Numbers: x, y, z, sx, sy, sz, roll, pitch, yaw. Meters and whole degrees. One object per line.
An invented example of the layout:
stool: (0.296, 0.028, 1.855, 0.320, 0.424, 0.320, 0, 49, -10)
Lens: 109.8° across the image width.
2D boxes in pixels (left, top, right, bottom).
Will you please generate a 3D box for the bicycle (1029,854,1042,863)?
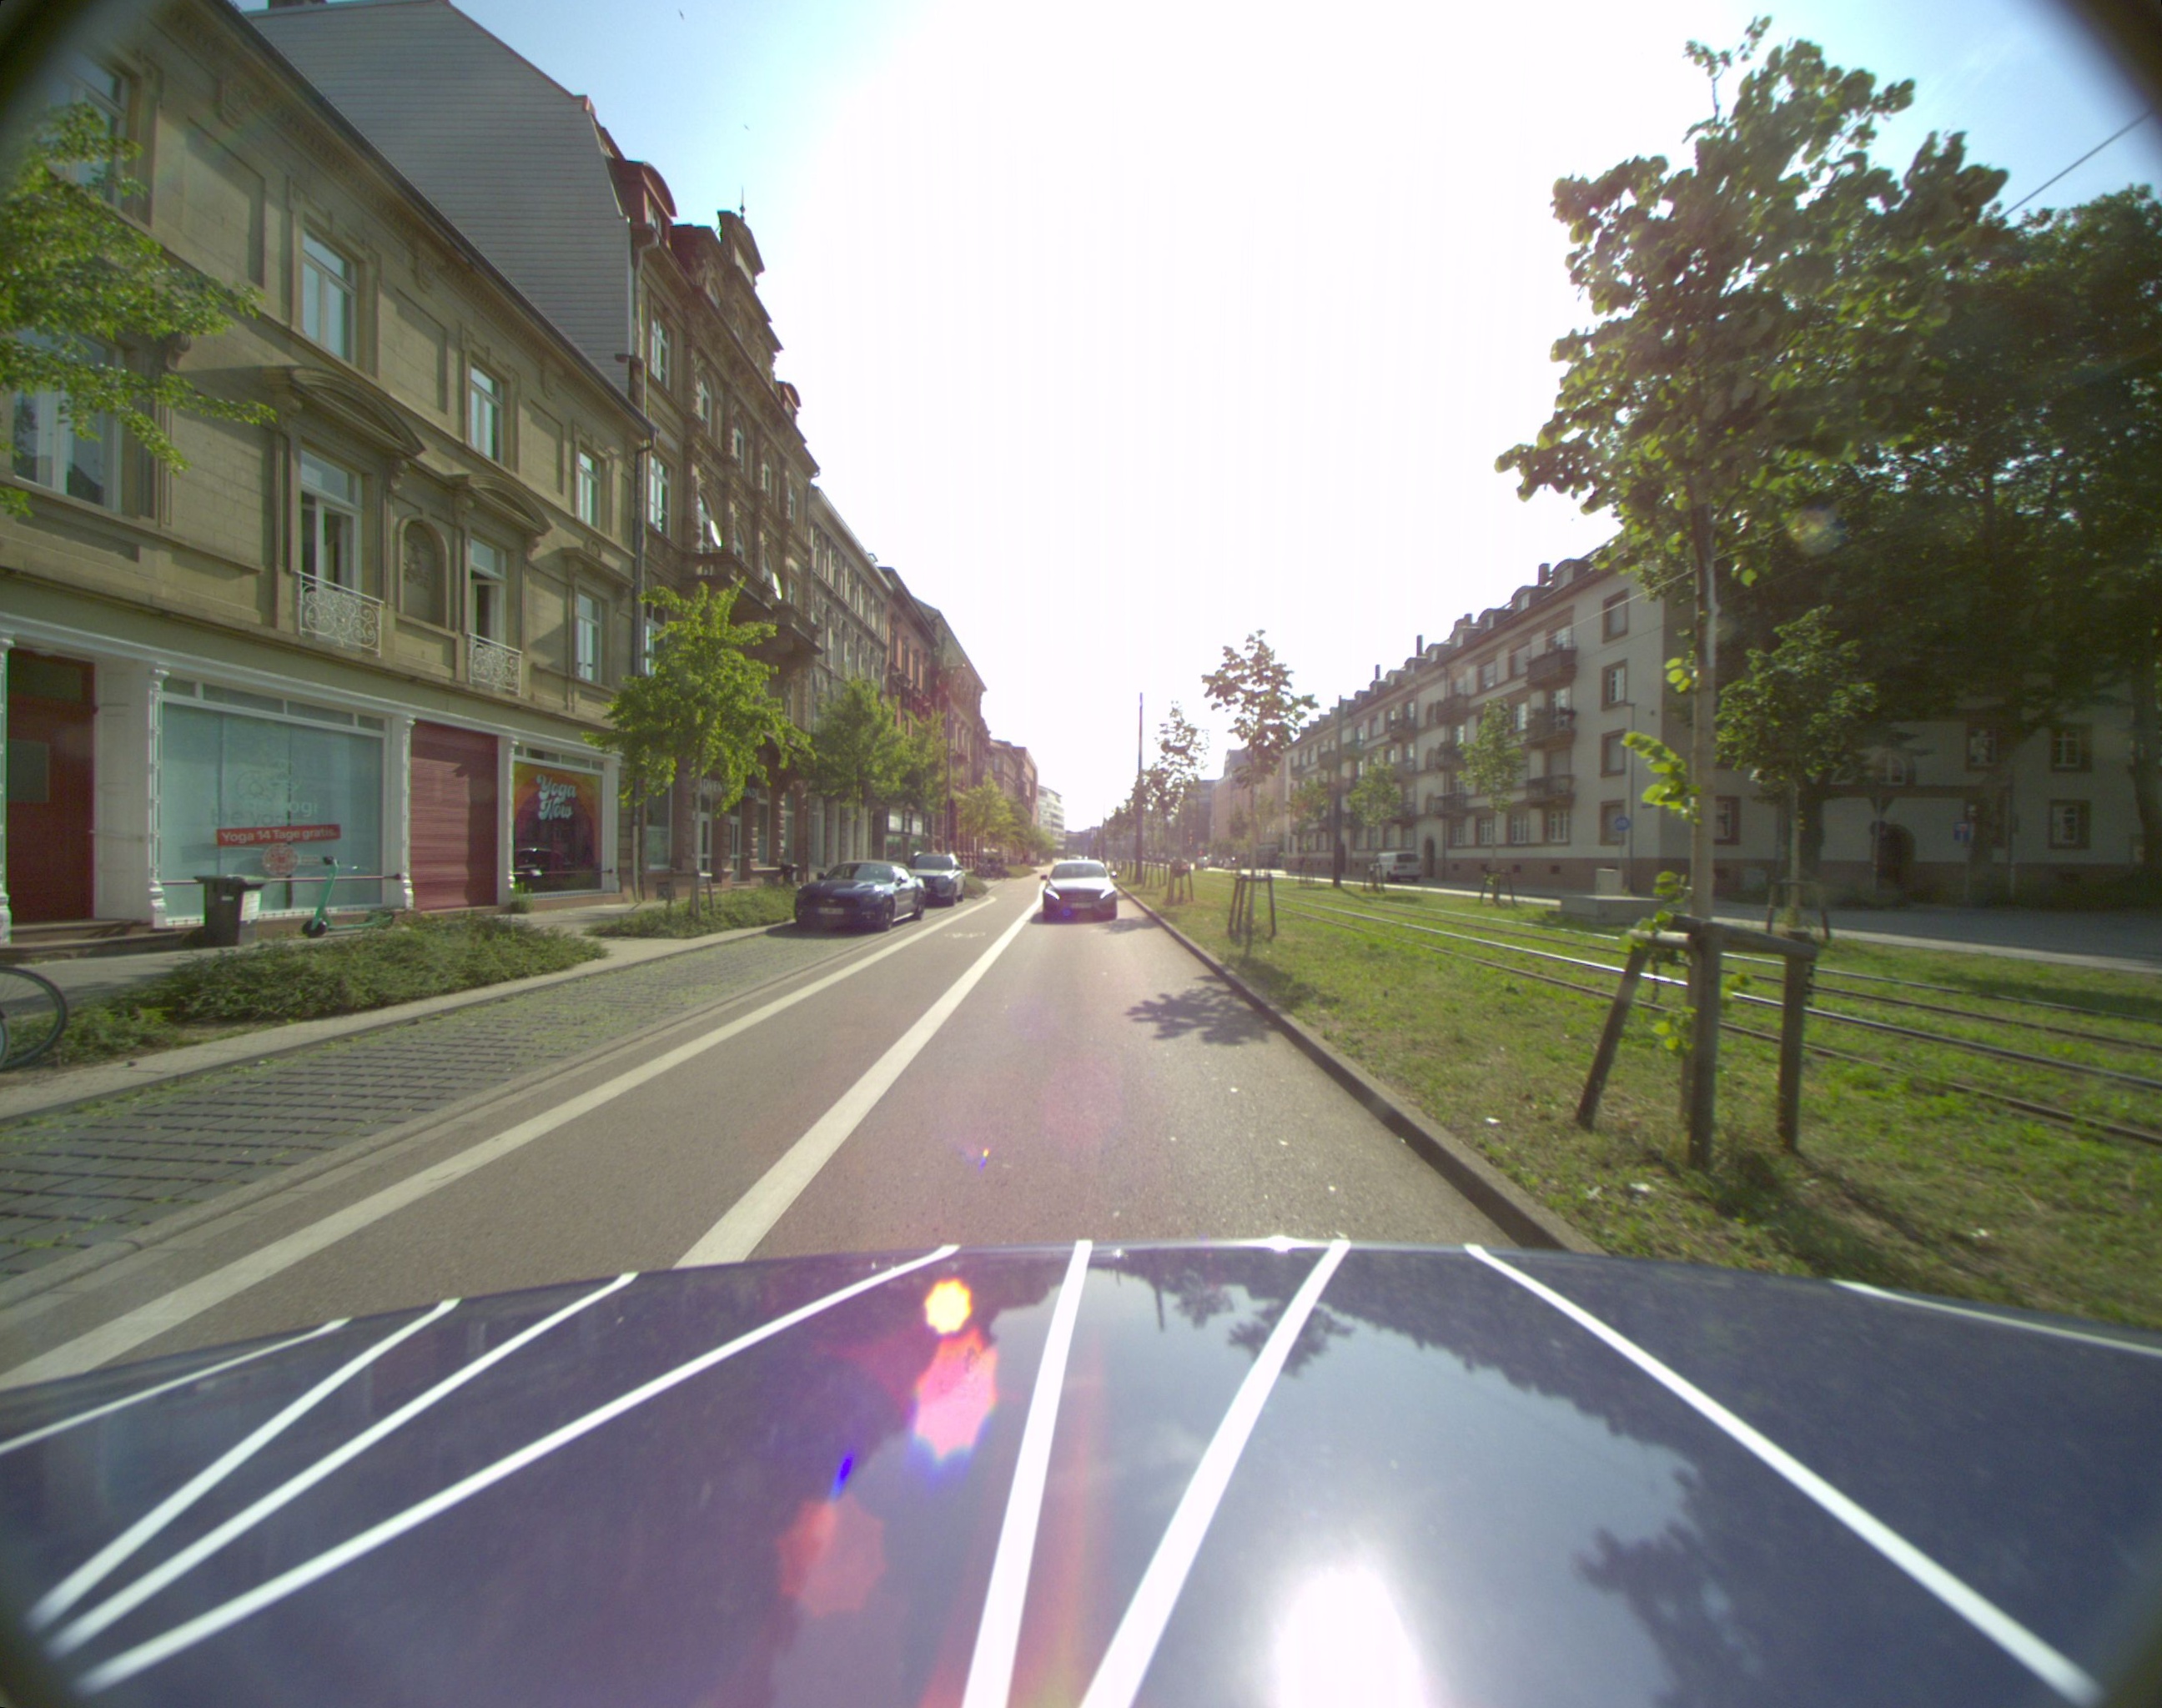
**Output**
bicycle: (-6.304, 0.605, 104.873, 1.756, 1.081, 0.583, 3, 1, 4)

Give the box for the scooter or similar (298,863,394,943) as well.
scooter or similar: (-10.906, 0.700, 11.315, 0.289, 1.127, 1.089, 1, 0, 6)

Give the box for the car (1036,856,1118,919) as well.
car: (-0.083, 0.791, 19.787, 1.907, 1.384, 4.235, 0, 1, 0)

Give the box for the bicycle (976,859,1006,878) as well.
bicycle: (-5.606, 0.900, 47.287, 1.812, 1.089, 0.671, 2, 1, -5)

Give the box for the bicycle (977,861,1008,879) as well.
bicycle: (-5.356, 0.955, 45.839, 1.789, 1.048, 0.373, 2, 1, -1)

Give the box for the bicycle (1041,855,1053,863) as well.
bicycle: (-4.971, 0.676, 110.961, 1.761, 1.081, 0.610, 4, 1, -9)

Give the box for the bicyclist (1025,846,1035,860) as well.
bicyclist: (-5.533, -0.078, 82.339, 0.929, 1.473, 0.586, 3, 1, 20)

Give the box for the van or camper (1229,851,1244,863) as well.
van or camper: (26.227, 0.461, 128.232, 1.934, 1.956, 4.001, 1, 0, 5)

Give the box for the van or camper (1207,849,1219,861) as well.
van or camper: (30.864, 0.290, 177.641, 1.998, 2.786, 5.352, 1, 1, 1)

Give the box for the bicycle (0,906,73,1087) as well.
bicycle: (-7.378, 0.921, 4.340, 0.453, 1.076, 1.881, 3, 3, 42)

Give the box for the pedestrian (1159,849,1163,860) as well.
pedestrian: (14.352, 0.071, 136.270, 0.740, 1.861, 0.939, 1, 1, 4)

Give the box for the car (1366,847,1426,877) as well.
car: (21.268, 0.516, 51.509, 1.998, 1.907, 5.153, -1, 0, 1)

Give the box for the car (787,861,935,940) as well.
car: (-4.638, 0.900, 16.801, 1.740, 1.388, 4.715, 2, 0, 2)

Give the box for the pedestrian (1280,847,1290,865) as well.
pedestrian: (23.838, 0.226, 88.893, 0.844, 2.056, 1.157, 0, 1, 1)

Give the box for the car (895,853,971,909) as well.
car: (-4.659, 0.800, 24.445, 1.774, 1.579, 4.246, 2, 0, -3)

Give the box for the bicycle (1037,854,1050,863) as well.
bicycle: (-5.438, 0.636, 109.396, 1.761, 1.081, 0.657, 4, 1, -9)

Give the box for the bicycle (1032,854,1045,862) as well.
bicycle: (-6.033, 0.574, 108.203, 1.763, 1.081, 0.671, 4, 1, -22)

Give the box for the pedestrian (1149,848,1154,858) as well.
pedestrian: (13.887, -0.200, 150.196, 0.807, 1.875, 0.555, 1, 1, -1)

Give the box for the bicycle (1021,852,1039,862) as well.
bicycle: (-5.523, 0.317, 82.297, 1.780, 0.948, 0.508, 3, 1, 20)

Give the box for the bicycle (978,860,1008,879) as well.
bicycle: (-5.349, 0.950, 46.239, 1.789, 1.048, 0.373, 2, 1, -1)

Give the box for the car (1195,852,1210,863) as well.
car: (21.034, 0.536, 131.733, 1.998, 1.884, 5.047, 1, 0, 2)

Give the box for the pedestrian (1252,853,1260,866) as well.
pedestrian: (22.475, 0.717, 97.465, 0.808, 1.574, 0.680, 1, 1, -7)

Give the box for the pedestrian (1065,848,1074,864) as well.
pedestrian: (-1.298, 0.250, 86.513, 0.992, 1.795, 0.864, 2, -1, 1)

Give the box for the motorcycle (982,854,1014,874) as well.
motorcycle: (-5.656, 0.707, 51.606, 2.046, 1.279, 0.703, 2, 0, -35)
